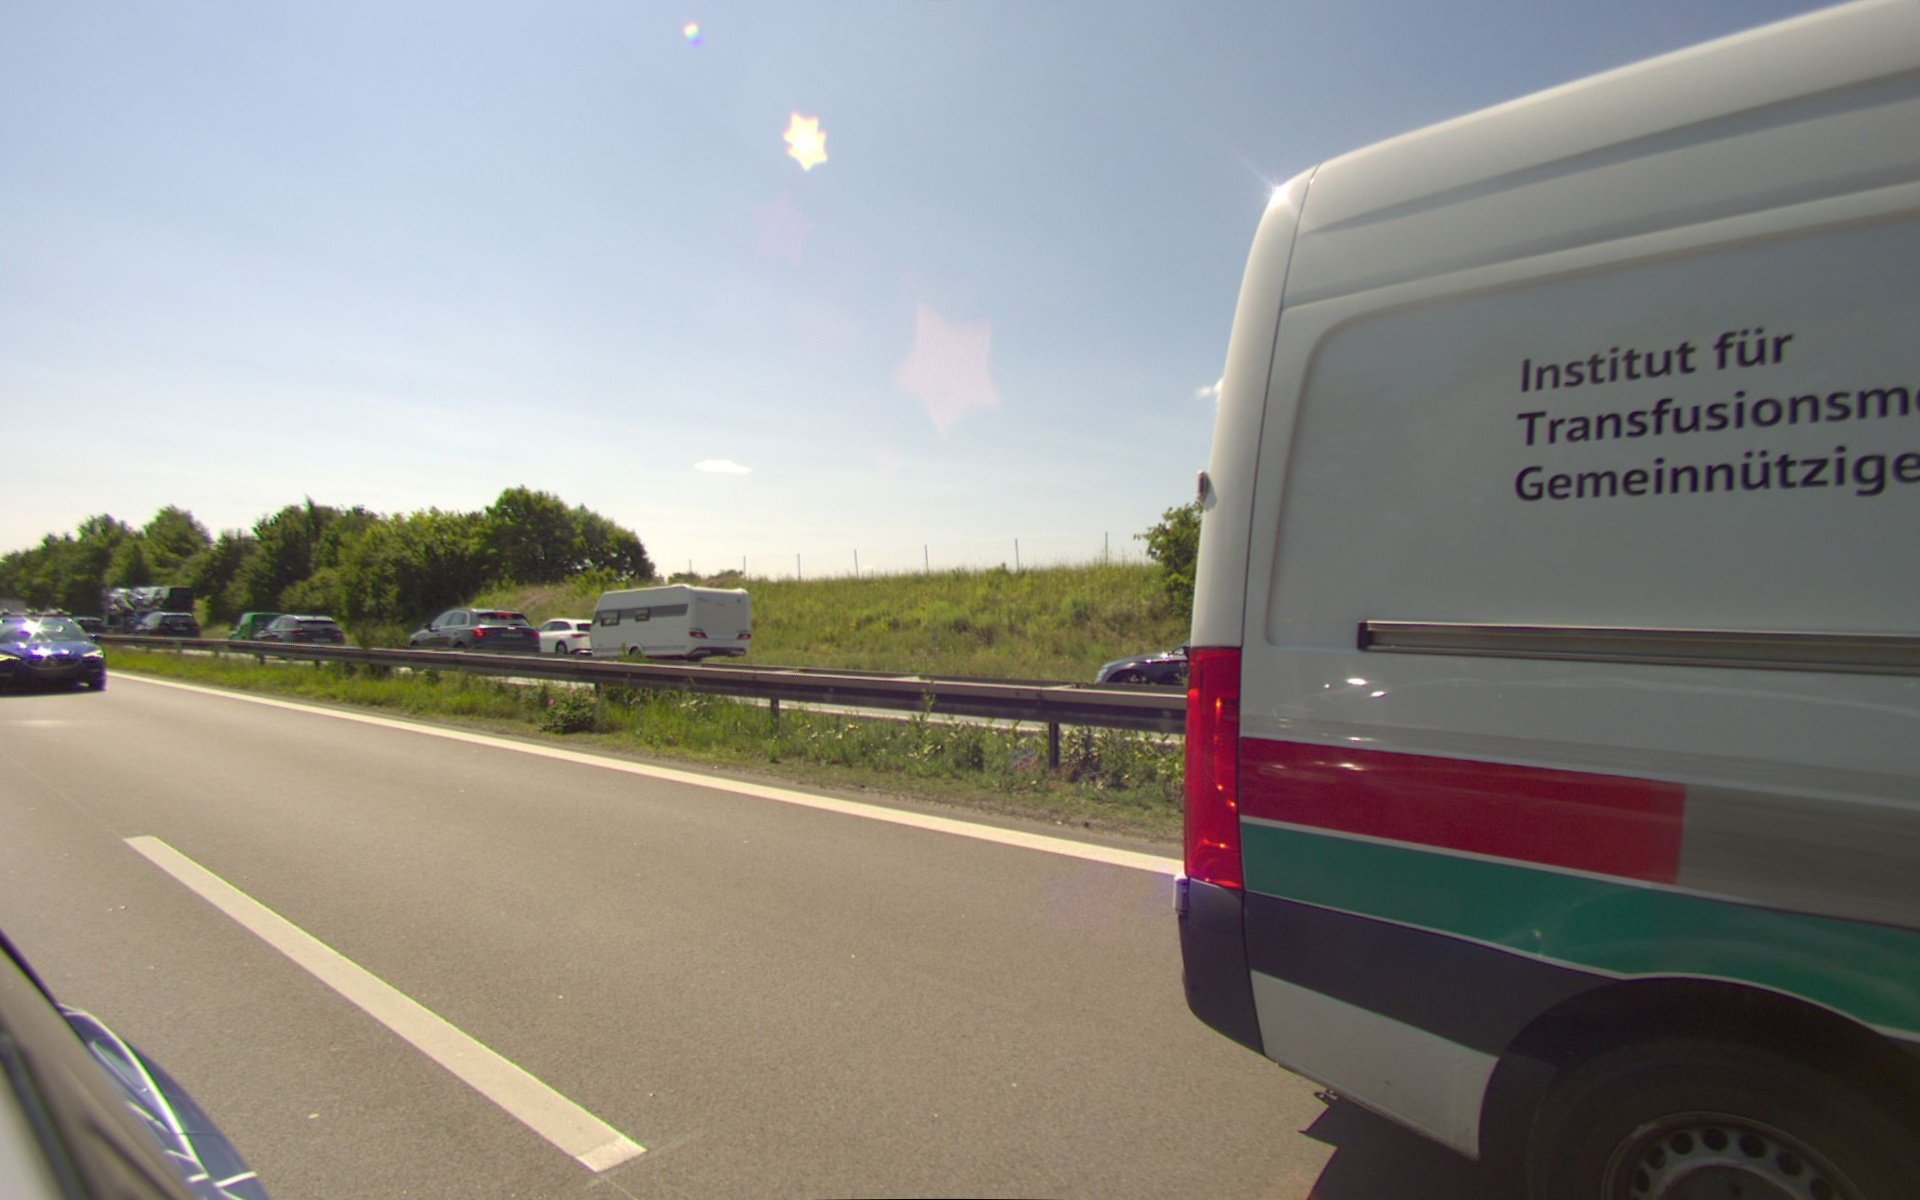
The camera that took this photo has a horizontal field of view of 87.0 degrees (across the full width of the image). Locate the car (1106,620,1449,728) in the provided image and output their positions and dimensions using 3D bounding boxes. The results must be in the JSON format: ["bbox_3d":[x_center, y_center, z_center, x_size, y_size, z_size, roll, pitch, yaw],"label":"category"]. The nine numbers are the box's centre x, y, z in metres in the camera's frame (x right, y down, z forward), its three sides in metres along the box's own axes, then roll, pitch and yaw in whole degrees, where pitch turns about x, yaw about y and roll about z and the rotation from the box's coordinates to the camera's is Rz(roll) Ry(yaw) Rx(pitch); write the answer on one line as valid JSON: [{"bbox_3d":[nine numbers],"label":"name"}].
[{"bbox_3d":[4.753,1.034,15.673,4.801,1.438,1.726,-1,-2,41],"label":"car"}]

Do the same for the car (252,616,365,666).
[{"bbox_3d":[-21.491,1.325,33.328,4.614,1.528,1.892,-1,-2,41],"label":"car"}]

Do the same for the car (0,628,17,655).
[{"bbox_3d":[-77.643,3.311,81.436,4.911,2.029,1.973,0,-1,40],"label":"car"}]

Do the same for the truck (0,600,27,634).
[{"bbox_3d":[-121.765,2.229,128.677,13.946,4.110,2.645,-1,-3,40],"label":"truck"}]

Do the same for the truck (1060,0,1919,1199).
[{"bbox_3d":[3.419,0.047,1.145,6.690,2.561,1.972,-1,0,42],"label":"truck"}]

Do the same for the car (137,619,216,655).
[{"bbox_3d":[-35.333,1.652,45.609,4.614,1.528,1.892,-1,-2,41],"label":"car"}]

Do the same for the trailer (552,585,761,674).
[{"bbox_3d":[-10.601,0.979,34.714,8.625,2.708,2.703,-1,-2,41],"label":"trailer"}]

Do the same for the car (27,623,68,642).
[{"bbox_3d":[-78.209,2.771,86.731,4.577,1.626,1.973,-1,-2,40],"label":"car"}]

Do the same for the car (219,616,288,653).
[{"bbox_3d":[-36.404,1.754,52.114,4.378,1.823,1.795,-1,-2,40],"label":"car"}]

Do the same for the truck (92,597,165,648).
[{"bbox_3d":[-69.379,1.936,84.413,7.387,4.081,3.208,-1,-3,39],"label":"truck"}]

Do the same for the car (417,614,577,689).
[{"bbox_3d":[-11.169,1.149,24.289,4.420,1.586,1.830,0,-1,41],"label":"car"}]

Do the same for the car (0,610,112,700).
[{"bbox_3d":[-18.576,1.036,20.238,4.238,1.638,1.880,-1,-1,41],"label":"car"}]

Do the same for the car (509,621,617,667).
[{"bbox_3d":[-15.049,1.629,38.244,4.807,1.619,1.827,-1,-2,41],"label":"car"}]

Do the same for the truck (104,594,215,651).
[{"bbox_3d":[-62.690,1.790,78.951,16.656,4.081,3.180,-1,-2,39],"label":"truck"}]

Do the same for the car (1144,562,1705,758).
[{"bbox_3d":[4.676,0.550,10.780,5.087,1.617,1.972,-1,-2,42],"label":"car"}]

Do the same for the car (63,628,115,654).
[{"bbox_3d":[-50.571,2.356,58.764,3.998,1.401,1.698,-1,-2,41],"label":"car"}]
